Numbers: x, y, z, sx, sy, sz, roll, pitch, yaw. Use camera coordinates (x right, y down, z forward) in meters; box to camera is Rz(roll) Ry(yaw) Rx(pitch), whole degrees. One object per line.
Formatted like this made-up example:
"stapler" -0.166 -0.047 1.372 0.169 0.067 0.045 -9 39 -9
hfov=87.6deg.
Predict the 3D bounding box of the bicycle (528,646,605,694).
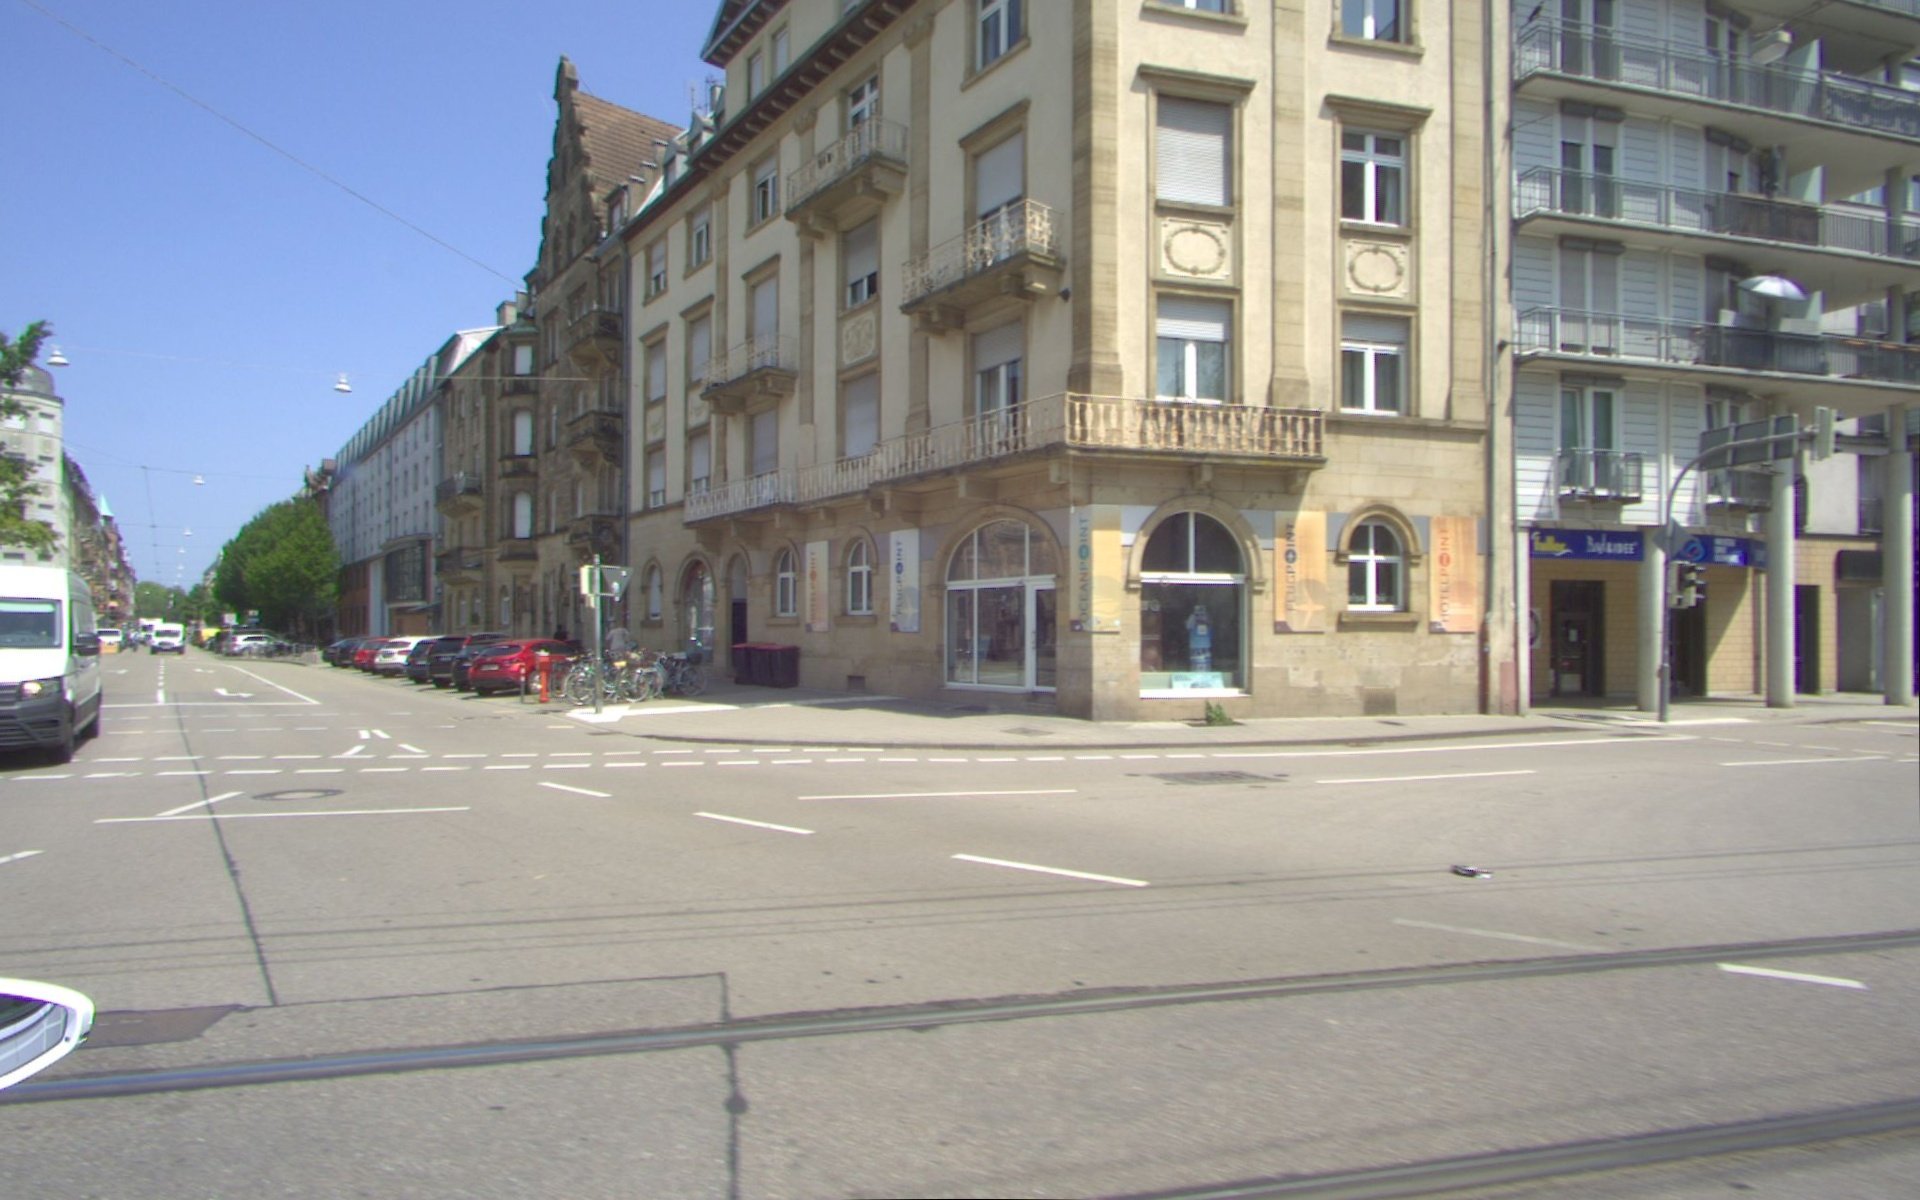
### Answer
"bicycle" -10.314 1.815 26.280 1.787 1.166 0.560 0 -1 -44

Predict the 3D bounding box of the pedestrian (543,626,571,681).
"pedestrian" -15.314 2.026 38.061 0.854 2.039 1.096 1 -2 -29

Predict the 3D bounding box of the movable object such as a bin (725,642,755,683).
"movable object such as a bin" -5.923 1.682 26.957 0.661 1.078 0.587 1 -2 -30

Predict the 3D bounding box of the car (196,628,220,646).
"car" -88.035 4.382 117.224 1.887 2.039 3.978 0 -2 -32

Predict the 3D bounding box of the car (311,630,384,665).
"car" -31.602 2.431 51.754 1.586 1.595 3.226 -2 -1 6

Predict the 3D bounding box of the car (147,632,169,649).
"car" -98.355 4.928 122.871 1.976 2.039 3.972 1 -3 -37

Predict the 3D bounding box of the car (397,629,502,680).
"car" -17.922 1.882 35.316 1.587 1.595 3.224 -2 -1 12

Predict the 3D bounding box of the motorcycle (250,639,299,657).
"motorcycle" -45.835 3.180 66.960 2.685 1.189 0.770 1 -2 -37

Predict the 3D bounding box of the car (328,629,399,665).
"car" -29.507 2.302 49.624 1.467 1.595 3.227 -2 -1 1

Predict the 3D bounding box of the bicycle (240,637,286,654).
"bicycle" -48.586 3.157 69.836 0.672 1.189 2.589 -1 -2 29

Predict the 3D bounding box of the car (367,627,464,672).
"car" -21.760 1.949 40.117 1.588 1.595 3.222 -2 -1 16

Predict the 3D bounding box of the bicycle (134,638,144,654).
"bicycle" -72.761 4.081 88.754 0.668 1.377 2.051 1 -1 -40

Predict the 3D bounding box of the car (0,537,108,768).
"car" -13.423 0.657 13.934 2.053 2.671 6.583 1 -1 -38

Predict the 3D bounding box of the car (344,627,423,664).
"car" -27.386 2.158 47.682 1.586 1.595 3.226 -2 -1 7

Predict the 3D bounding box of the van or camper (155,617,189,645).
"van or camper" -63.976 2.515 81.245 2.020 2.169 4.542 1 -1 -40

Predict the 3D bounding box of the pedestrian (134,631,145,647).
"pedestrian" -72.689 3.427 88.665 0.725 1.438 0.791 1 -1 -41

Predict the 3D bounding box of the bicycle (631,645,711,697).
"bicycle" -6.985 1.704 24.193 1.777 1.166 0.563 -1 -1 -25

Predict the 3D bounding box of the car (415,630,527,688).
"car" -15.807 1.867 32.519 1.587 1.687 3.224 -2 -1 12

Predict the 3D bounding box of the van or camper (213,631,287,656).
"van or camper" -54.951 3.351 77.577 1.967 1.861 4.314 0 -2 25

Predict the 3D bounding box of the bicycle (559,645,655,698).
"bicycle" -8.095 1.622 23.006 2.028 1.166 0.563 1 -1 -25

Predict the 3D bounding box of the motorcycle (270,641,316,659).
"motorcycle" -45.464 3.395 68.261 2.567 1.189 0.678 1 -2 -37

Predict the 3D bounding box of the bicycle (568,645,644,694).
"bicycle" -9.155 1.779 25.905 1.777 1.166 0.563 -1 -1 -25

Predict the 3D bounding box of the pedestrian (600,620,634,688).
"pedestrian" -10.953 1.707 31.996 0.854 2.140 1.096 1 -2 -29

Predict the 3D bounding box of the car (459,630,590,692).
"car" -12.036 1.660 27.856 1.588 1.498 3.221 -2 -1 17

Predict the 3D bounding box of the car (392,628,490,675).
"car" -19.621 1.933 37.965 1.587 1.595 3.224 -2 -1 12

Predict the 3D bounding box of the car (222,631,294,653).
"car" -51.146 3.048 72.999 1.723 1.568 3.986 -1 -2 28

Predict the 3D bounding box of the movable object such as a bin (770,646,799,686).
"movable object such as a bin" -4.507 1.694 25.677 0.575 1.007 0.587 1 -2 -30

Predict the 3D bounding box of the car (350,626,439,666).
"car" -25.203 2.020 44.714 1.588 1.595 3.222 -2 -1 16

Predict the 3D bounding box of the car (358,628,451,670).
"car" -23.482 2.032 42.413 1.588 1.595 3.222 -2 -1 16

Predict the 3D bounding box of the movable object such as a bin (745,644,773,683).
"movable object such as a bin" -5.312 1.679 26.476 0.575 1.007 0.587 1 -2 -30

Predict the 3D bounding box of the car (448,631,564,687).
"car" -13.697 1.759 30.401 1.587 1.498 3.224 -2 -1 12

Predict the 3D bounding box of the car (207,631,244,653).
"car" -62.274 3.566 84.852 3.959 1.772 1.942 -1 -2 45

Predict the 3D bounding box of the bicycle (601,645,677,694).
"bicycle" -8.165 1.759 25.493 1.777 1.166 0.563 -1 -1 -25

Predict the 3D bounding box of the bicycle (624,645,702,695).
"bicycle" -7.410 1.737 24.982 1.777 1.166 0.563 -1 -1 -25
